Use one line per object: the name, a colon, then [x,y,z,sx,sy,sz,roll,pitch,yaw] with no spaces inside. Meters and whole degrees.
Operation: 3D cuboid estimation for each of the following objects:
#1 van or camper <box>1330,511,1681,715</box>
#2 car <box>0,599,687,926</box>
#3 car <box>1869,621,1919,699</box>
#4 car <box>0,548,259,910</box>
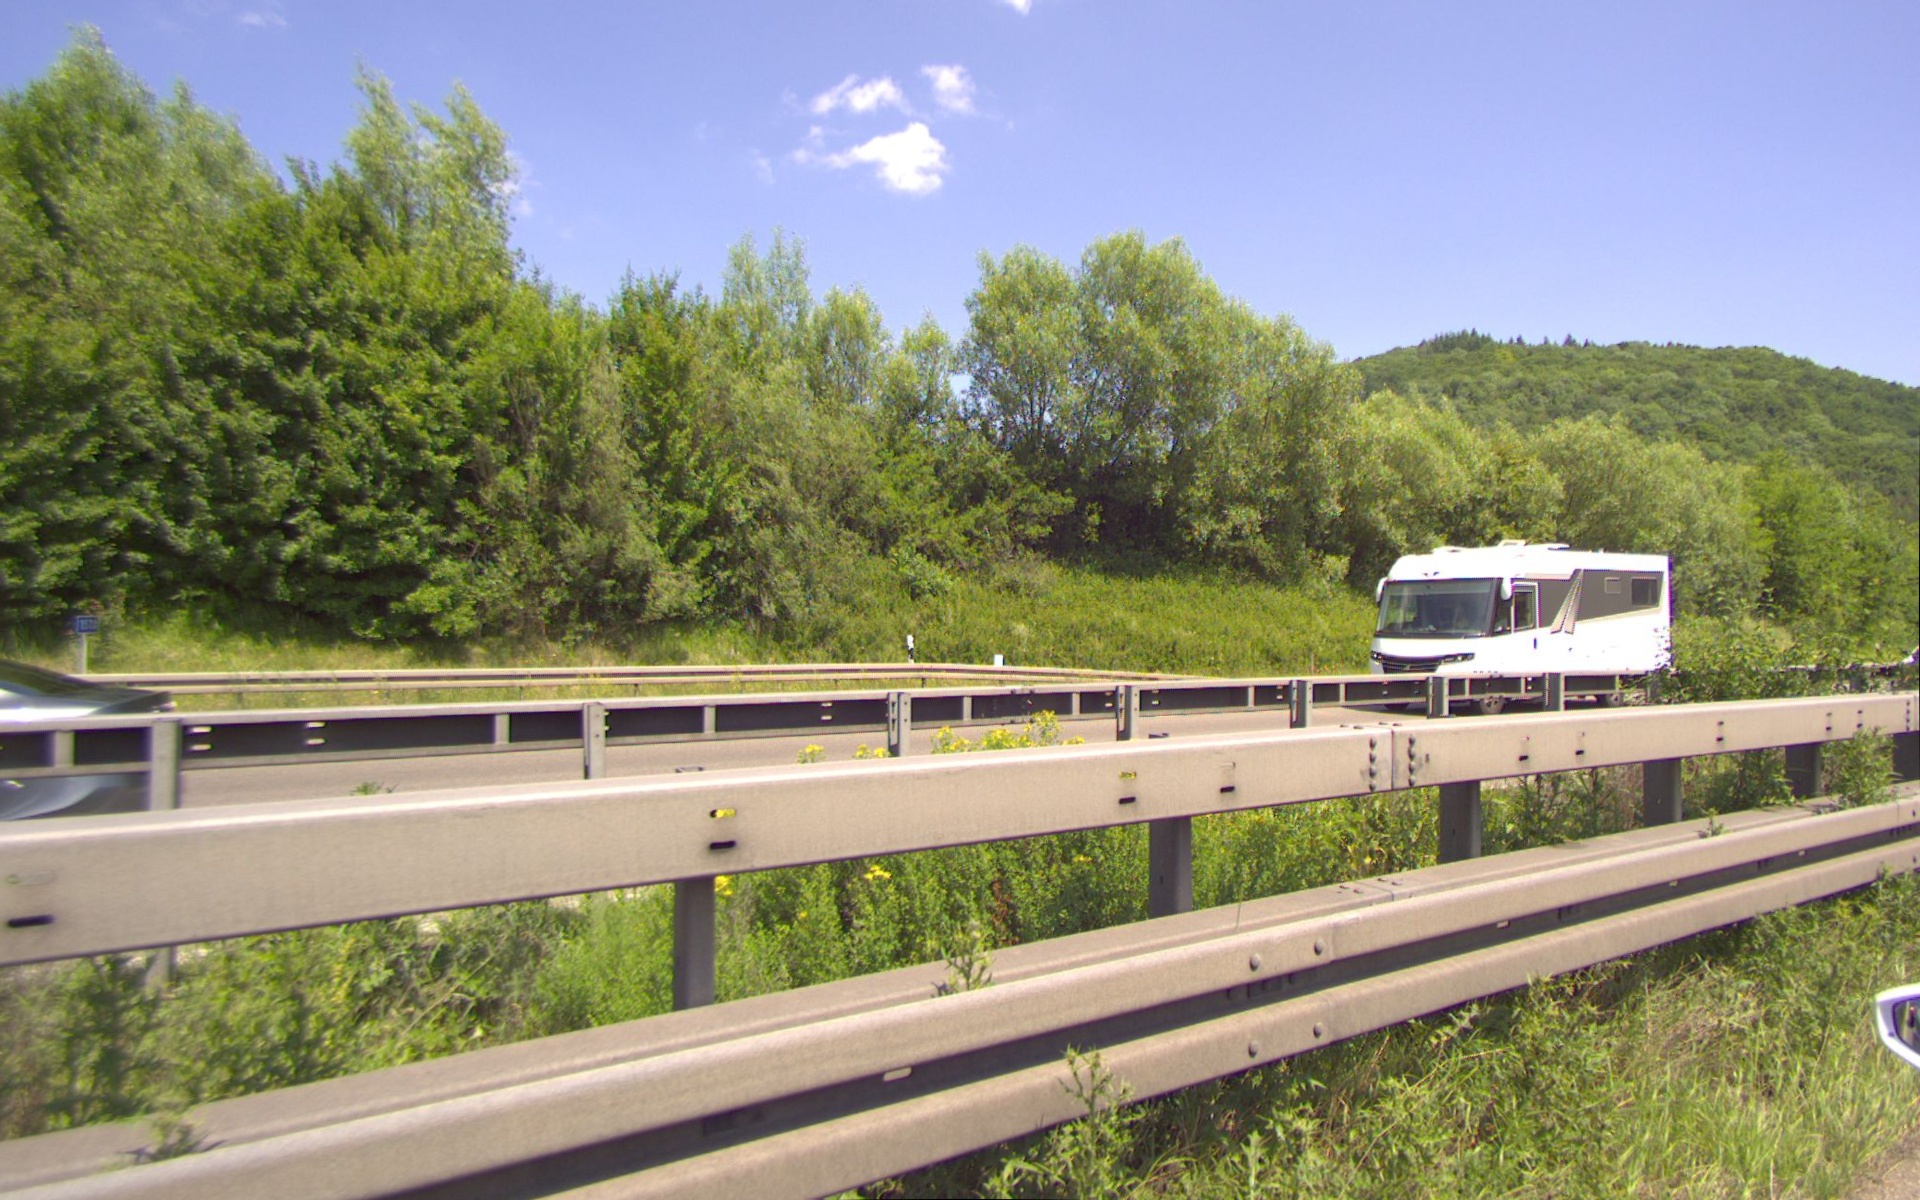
van or camper: [10.845,0.306,19.708,7.559,3.380,2.577,1,-1,-31]
car: [-4.055,0.759,5.778,4.485,1.483,1.788,1,-1,-31]
car: [22.395,1.339,22.587,3.952,1.675,1.761,1,0,-30]
car: [-6.103,0.570,4.693,4.438,1.673,1.767,1,-1,-30]
